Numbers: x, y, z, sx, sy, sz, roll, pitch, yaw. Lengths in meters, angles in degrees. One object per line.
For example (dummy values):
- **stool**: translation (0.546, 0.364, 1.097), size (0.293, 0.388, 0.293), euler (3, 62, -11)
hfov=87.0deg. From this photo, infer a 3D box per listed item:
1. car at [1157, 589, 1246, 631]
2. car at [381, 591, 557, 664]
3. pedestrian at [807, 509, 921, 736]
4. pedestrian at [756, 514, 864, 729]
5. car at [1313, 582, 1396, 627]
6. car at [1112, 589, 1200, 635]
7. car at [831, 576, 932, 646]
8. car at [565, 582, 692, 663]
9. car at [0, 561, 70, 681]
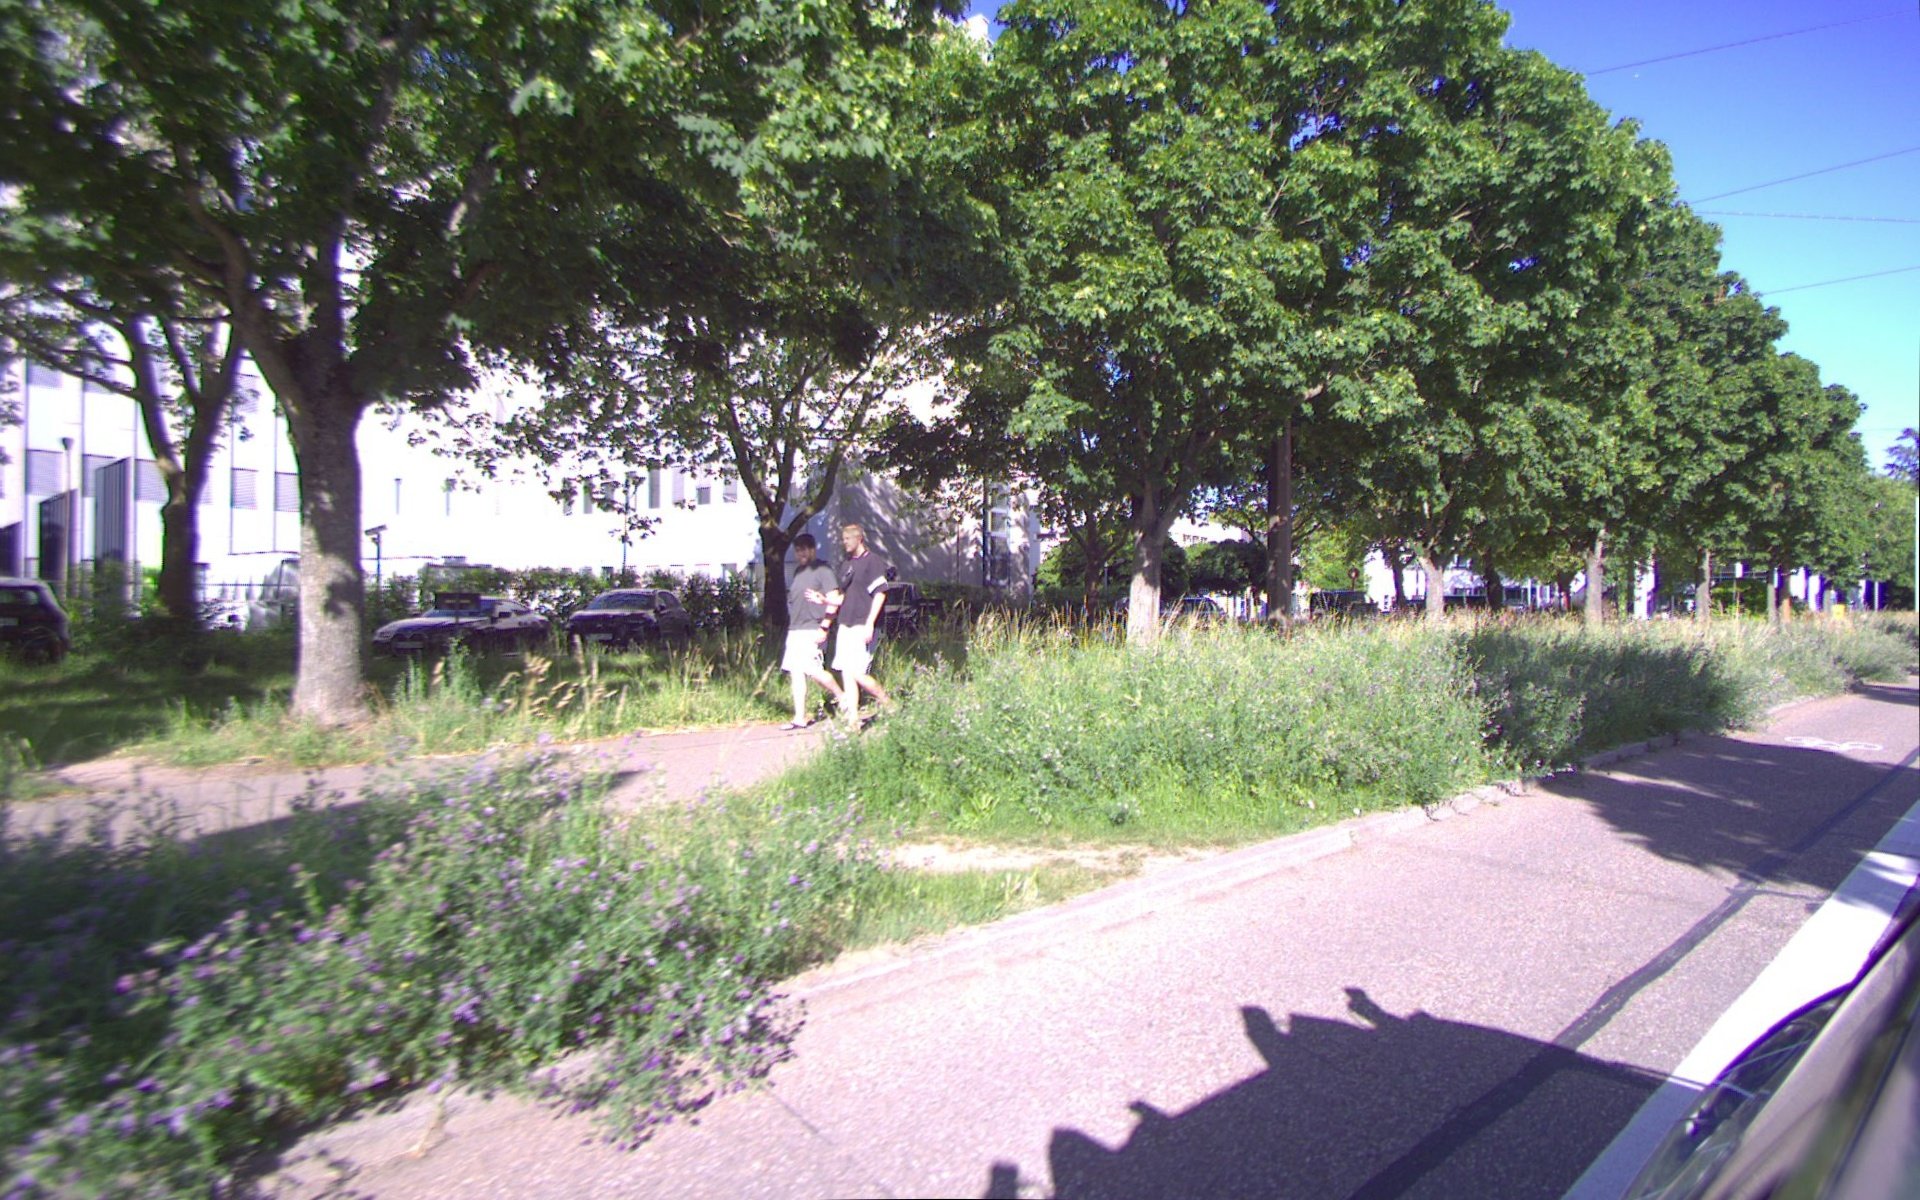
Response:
- **car**: translation (8.938, 0.331, 37.862), size (1.811, 1.466, 4.554), euler (0, 0, -5)
- **car**: translation (-9.948, 0.499, 20.859), size (1.676, 1.358, 3.986), euler (0, 0, 1)
- **pedestrian**: translation (-0.861, 0.193, 9.192), size (0.703, 1.942, 0.808), euler (0, 0, 28)
- **pedestrian**: translation (-1.430, 0.191, 9.709), size (0.703, 1.955, 0.809), euler (0, 0, 25)
- **car**: translation (17.696, 0.193, 45.650), size (2.043, 1.900, 5.180), euler (0, 0, 4)
- **car**: translation (6.820, 0.384, 35.675), size (1.811, 1.534, 4.554), euler (0, 0, -5)
- **car**: translation (-2.088, 0.272, 28.488), size (1.886, 1.774, 5.447), euler (0, 0, 6)
- **car**: translation (-7.368, 0.457, 22.871), size (1.690, 1.659, 3.989), euler (0, 0, -2)
- **car**: translation (-15.555, 0.253, 15.894), size (4.329, 1.721, 1.741), euler (2, 1, 40)
